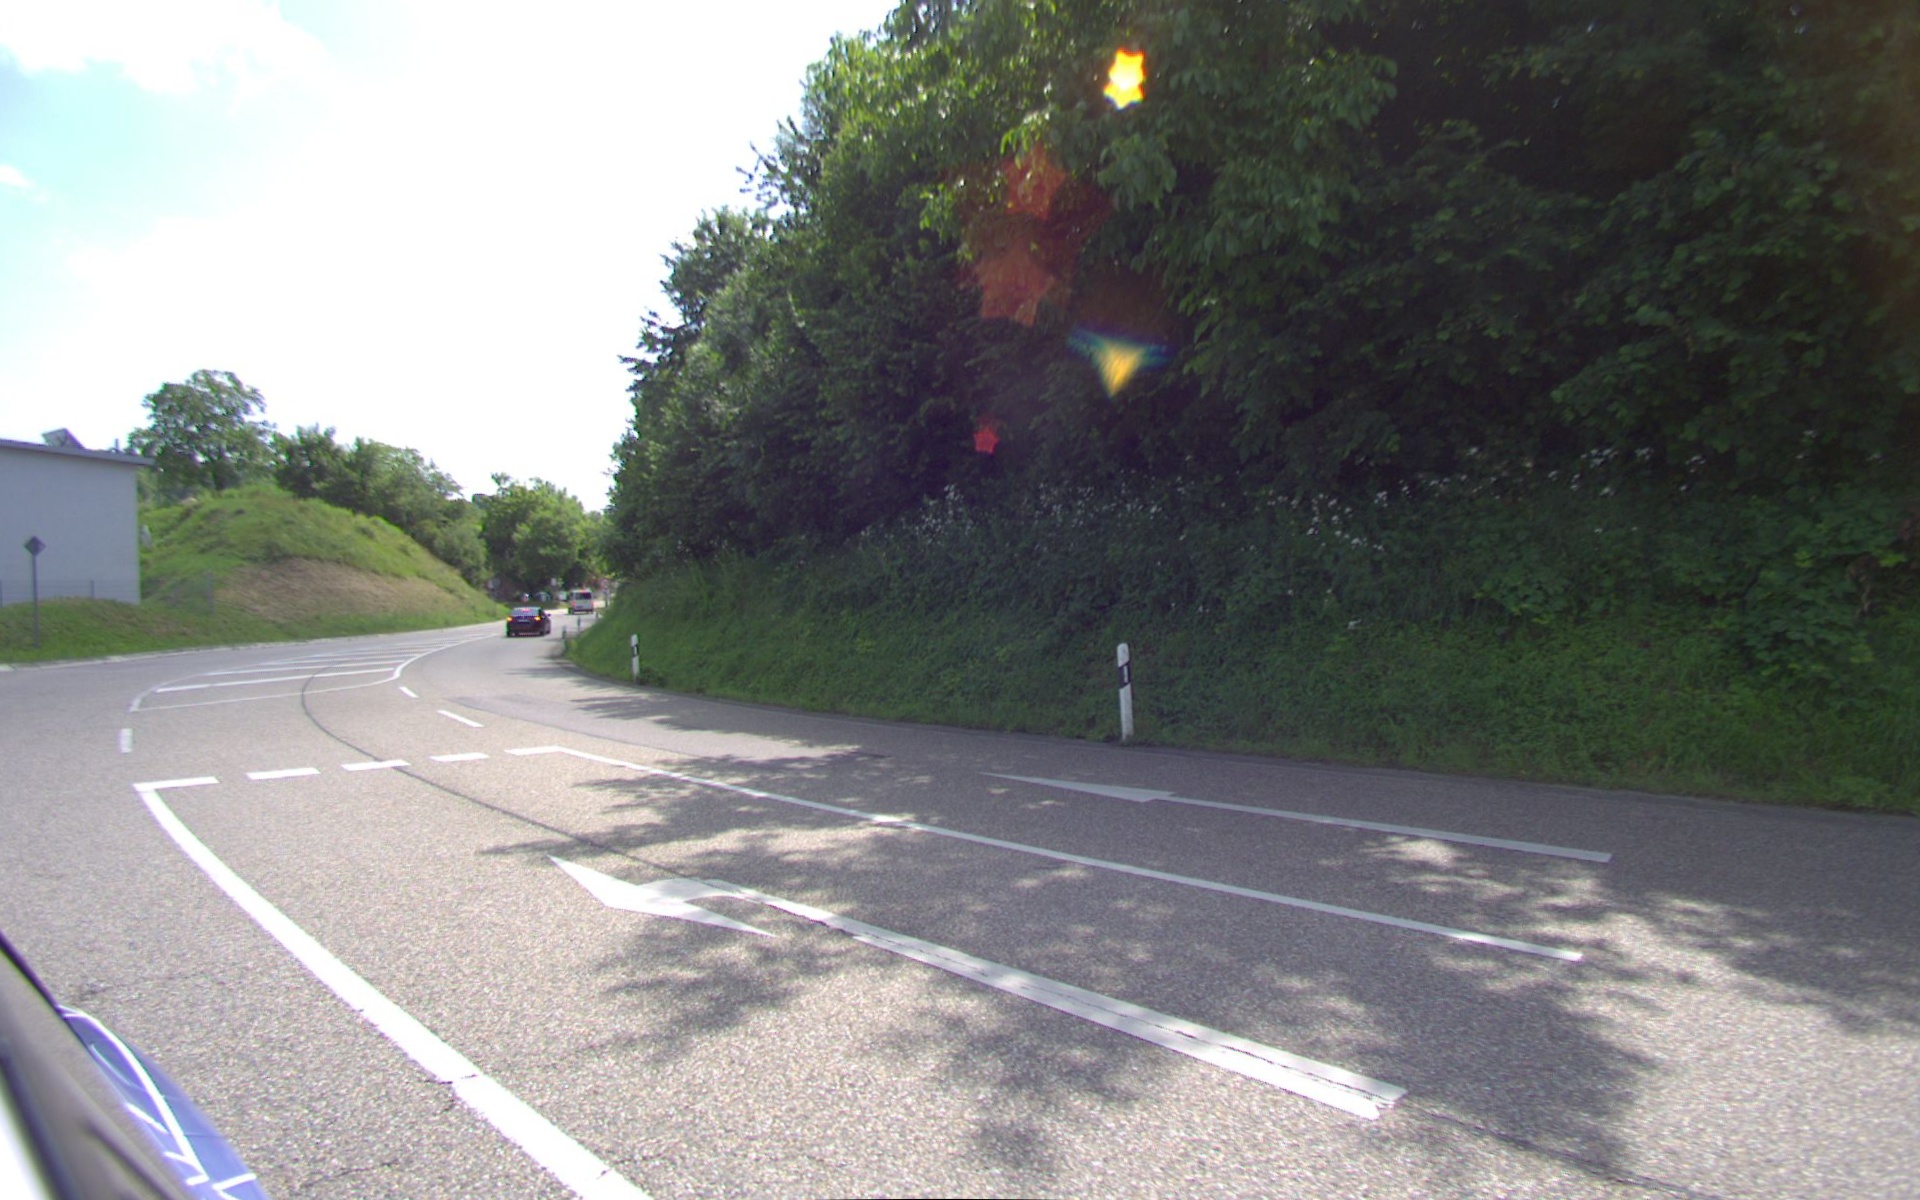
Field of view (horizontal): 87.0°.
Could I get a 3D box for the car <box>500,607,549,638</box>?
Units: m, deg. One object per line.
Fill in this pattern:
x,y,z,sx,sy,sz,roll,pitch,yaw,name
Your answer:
-21.851,1.120,50.908,1.661,1.430,4.357,1,0,-16,car

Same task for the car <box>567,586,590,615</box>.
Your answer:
-37.595,0.022,99.815,2.056,2.306,5.968,0,6,-20,car
